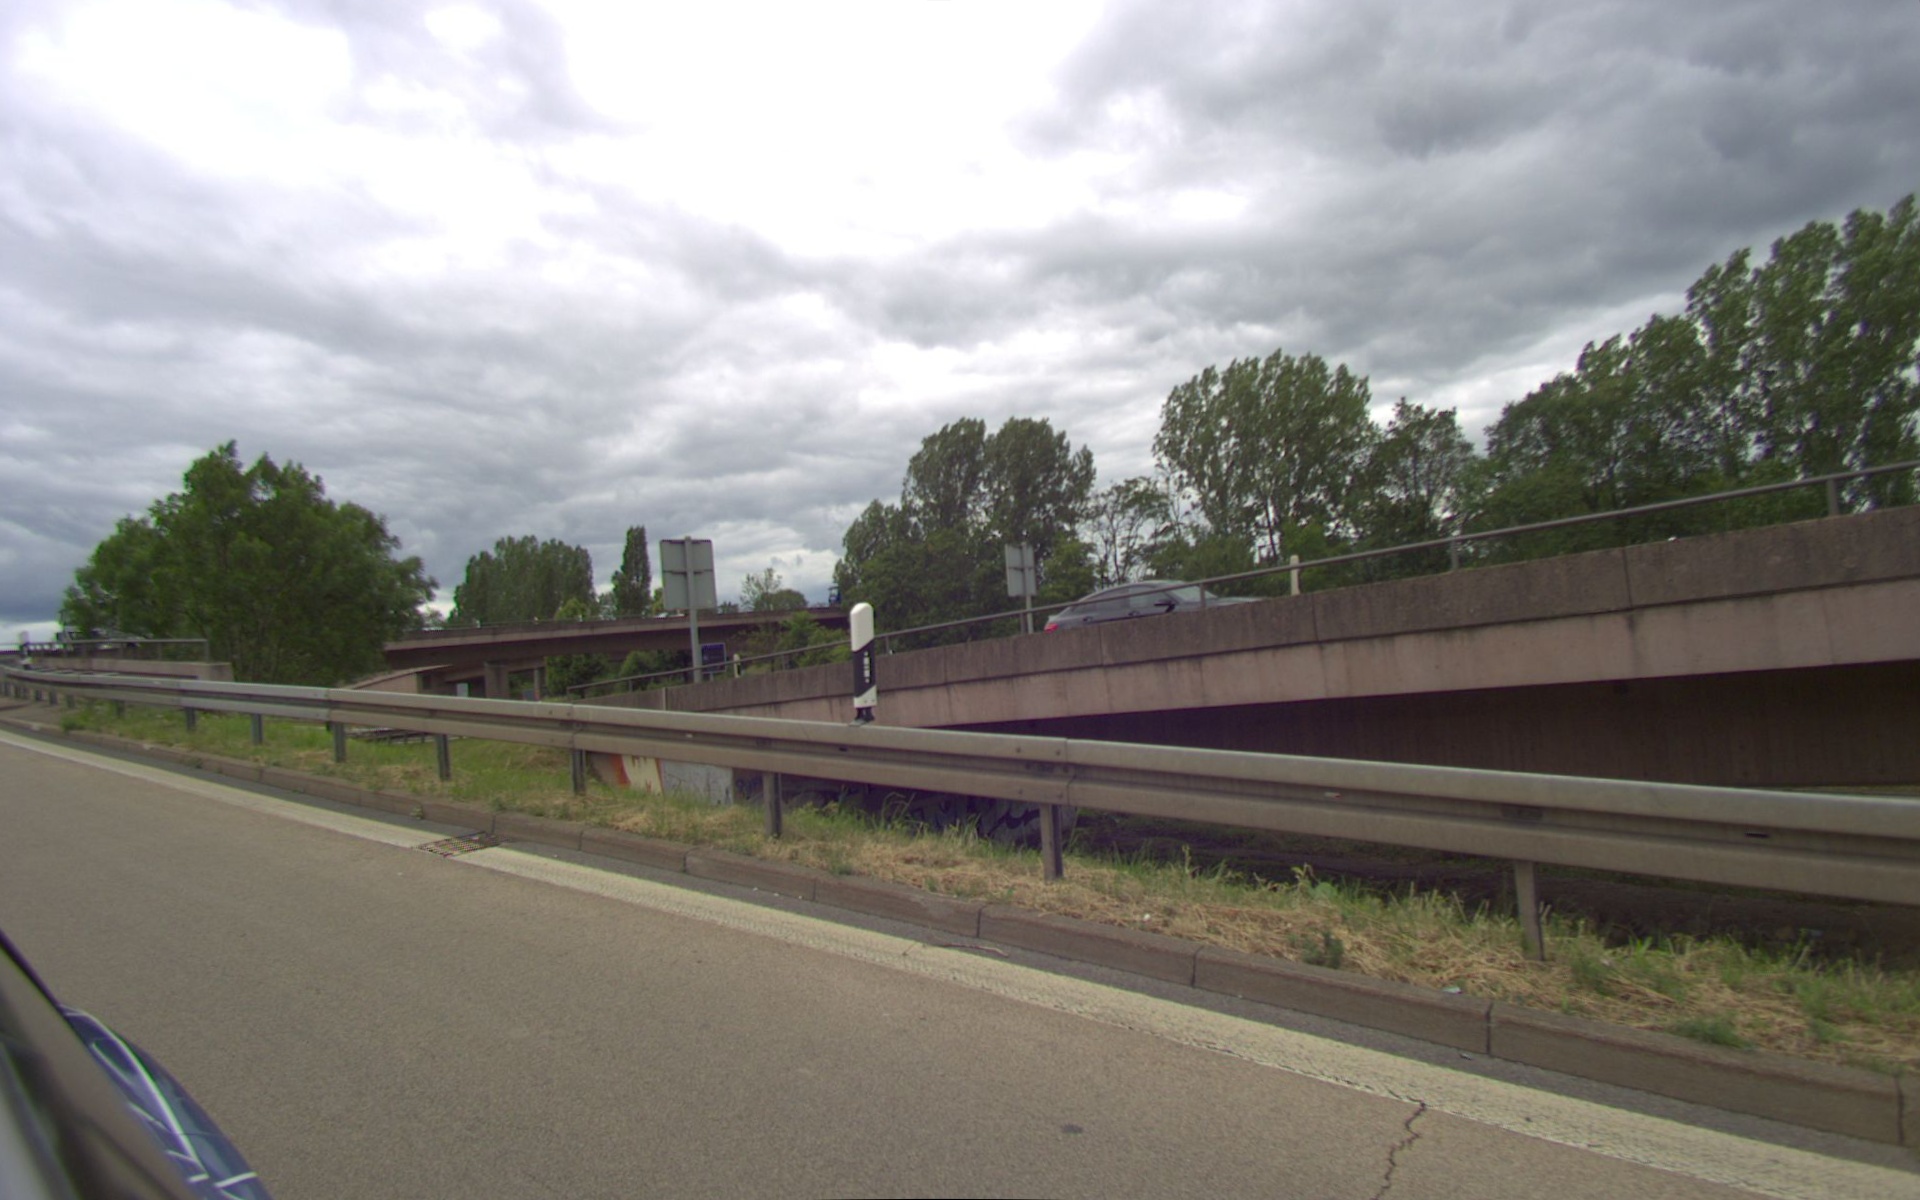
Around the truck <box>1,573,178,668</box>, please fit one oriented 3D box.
[{"bbox_3d":[-45.292,1.085,52.967,4.106,4.335,5.969,-4,-1,-4],"label":"truck"}]
